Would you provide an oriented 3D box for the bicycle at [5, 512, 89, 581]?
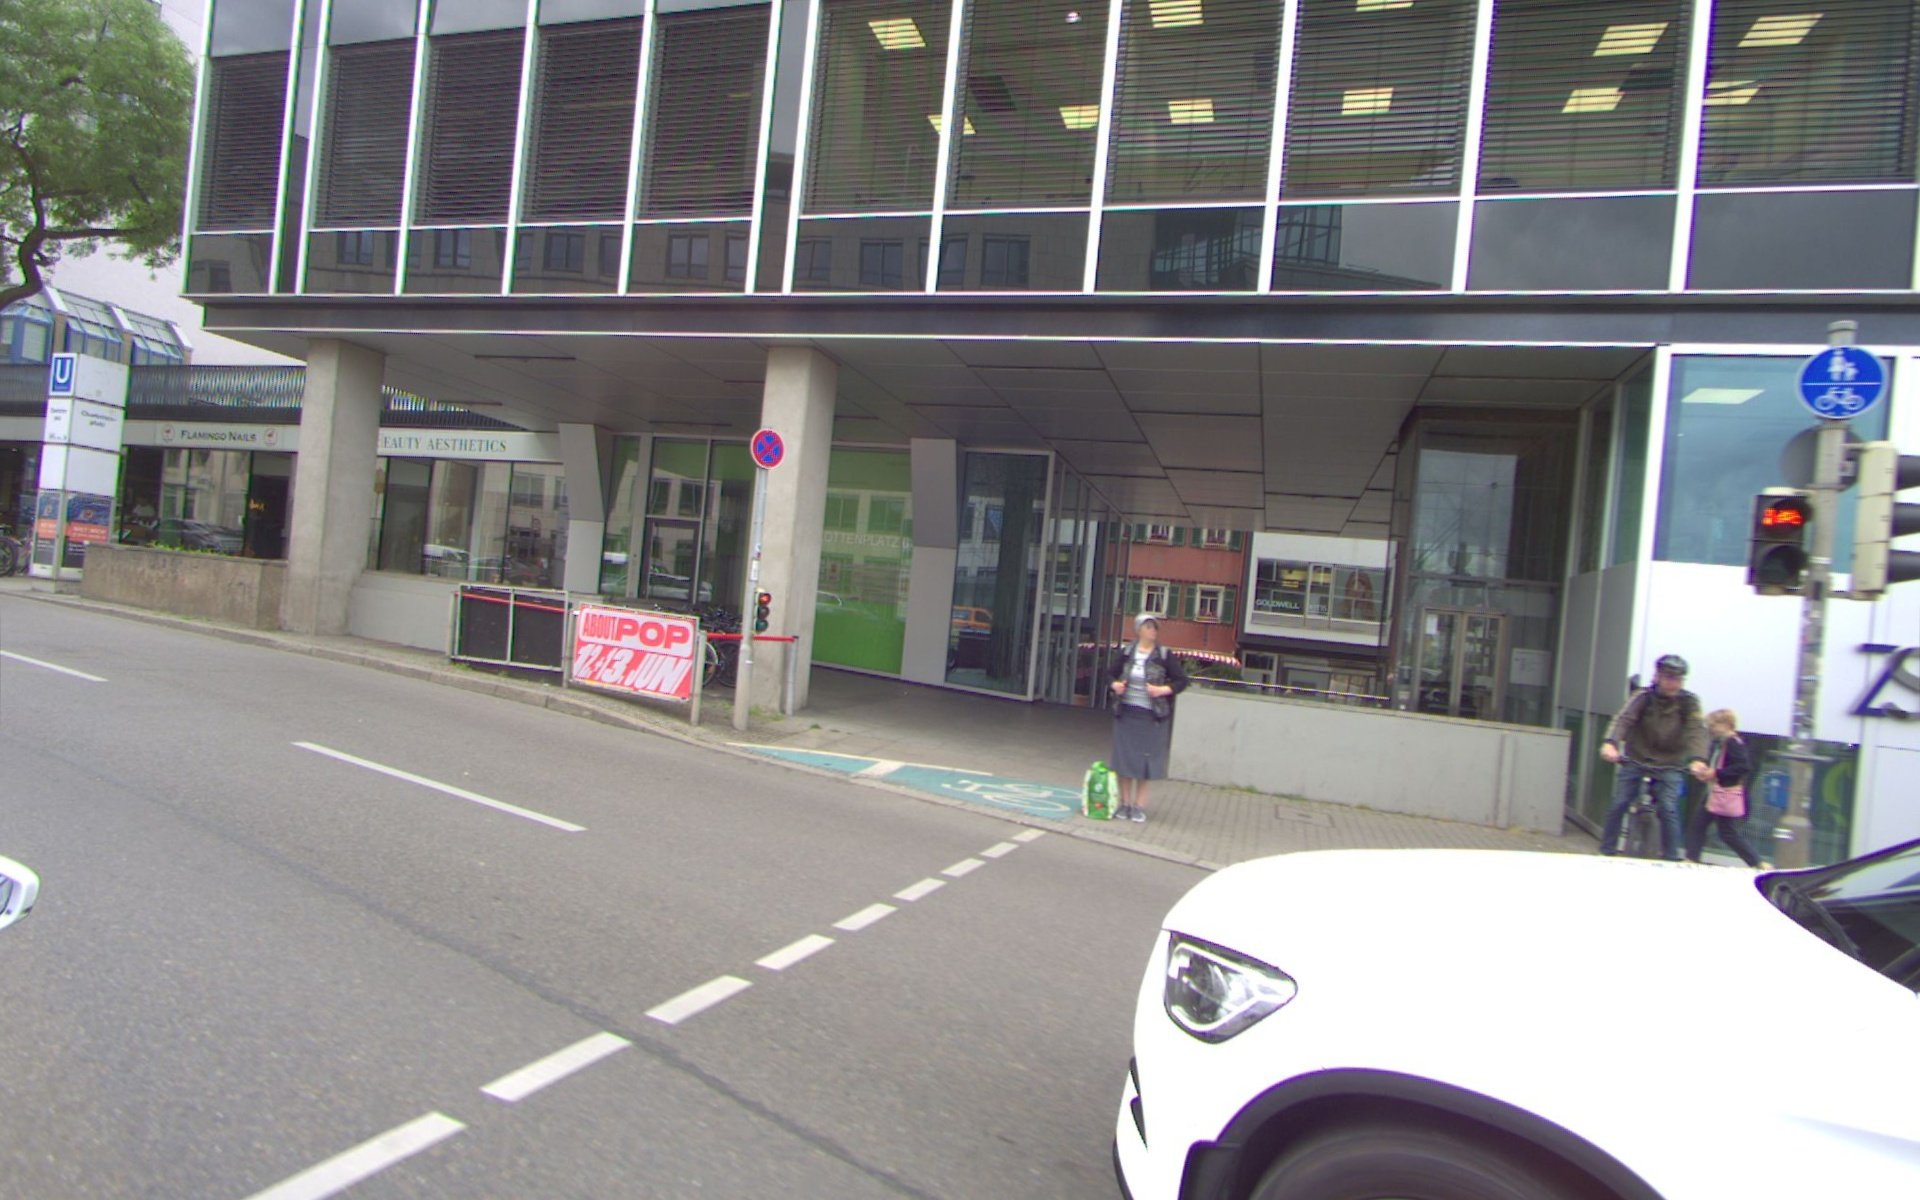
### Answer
[{"bbox_3d":[-17.703,-1.047,19.505,1.658,1.146,0.491,7,0,24],"label":"bicycle"}]

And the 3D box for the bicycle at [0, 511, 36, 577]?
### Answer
[{"bbox_3d":[-18.199,-1.114,18.747,1.851,1.146,0.491,7,0,17],"label":"bicycle"}]

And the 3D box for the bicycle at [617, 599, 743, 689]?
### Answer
[{"bbox_3d":[-3.952,0.608,14.258,1.458,1.061,0.714,7,0,2],"label":"bicycle"}]

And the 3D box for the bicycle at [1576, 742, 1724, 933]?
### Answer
[{"bbox_3d":[5.164,1.714,7.632,0.669,1.020,1.763,9,2,31],"label":"bicycle"}]

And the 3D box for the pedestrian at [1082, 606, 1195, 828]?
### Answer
[{"bbox_3d":[1.513,0.954,8.474,0.739,1.734,0.526,5,1,17],"label":"pedestrian"}]

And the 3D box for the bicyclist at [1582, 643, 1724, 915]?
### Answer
[{"bbox_3d":[5.234,1.301,7.653,0.664,1.869,0.812,7,1,31],"label":"bicyclist"}]

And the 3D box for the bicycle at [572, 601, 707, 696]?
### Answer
[{"bbox_3d":[-4.276,0.637,13.491,1.458,1.061,0.714,7,0,2],"label":"bicycle"}]

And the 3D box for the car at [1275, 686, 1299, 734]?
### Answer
[{"bbox_3d":[11.887,3.987,36.569,0.593,1.618,0.453,7,0,10],"label":"car"}]

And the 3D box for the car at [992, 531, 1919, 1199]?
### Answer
[{"bbox_3d":[2.380,0.949,1.706,4.264,1.667,1.802,7,1,34],"label":"car"}]

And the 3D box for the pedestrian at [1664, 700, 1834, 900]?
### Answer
[{"bbox_3d":[6.601,1.647,8.466,0.823,1.461,0.606,7,2,18],"label":"pedestrian"}]
